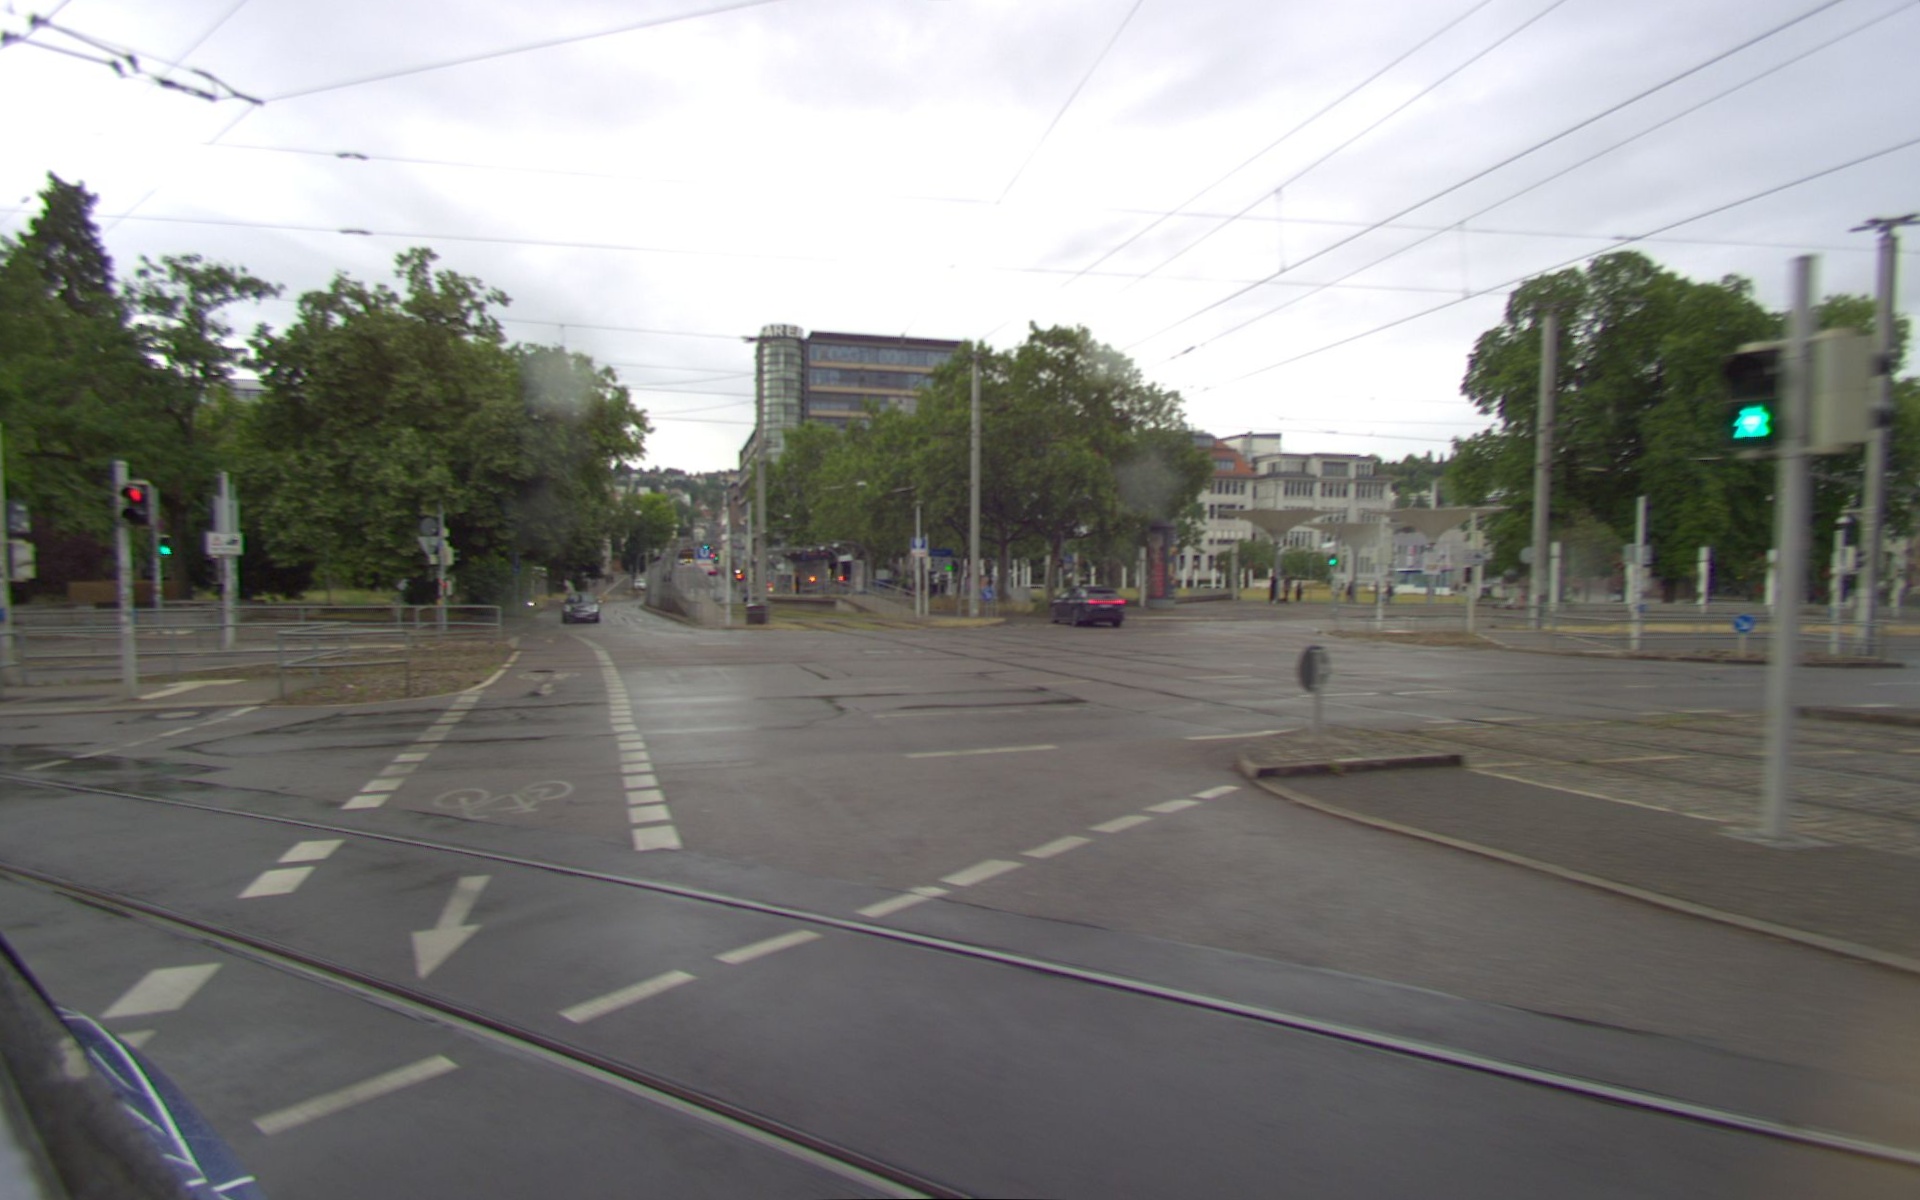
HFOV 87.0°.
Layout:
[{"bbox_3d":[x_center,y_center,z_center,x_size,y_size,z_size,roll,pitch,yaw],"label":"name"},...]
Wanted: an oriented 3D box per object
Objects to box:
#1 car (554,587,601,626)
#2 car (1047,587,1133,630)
[{"bbox_3d":[-18.168,0.249,48.231,1.966,1.718,4.013,-1,1,-19],"label":"car"},{"bbox_3d":[4.954,0.269,39.269,2.072,1.517,4.741,0,1,-9],"label":"car"}]
